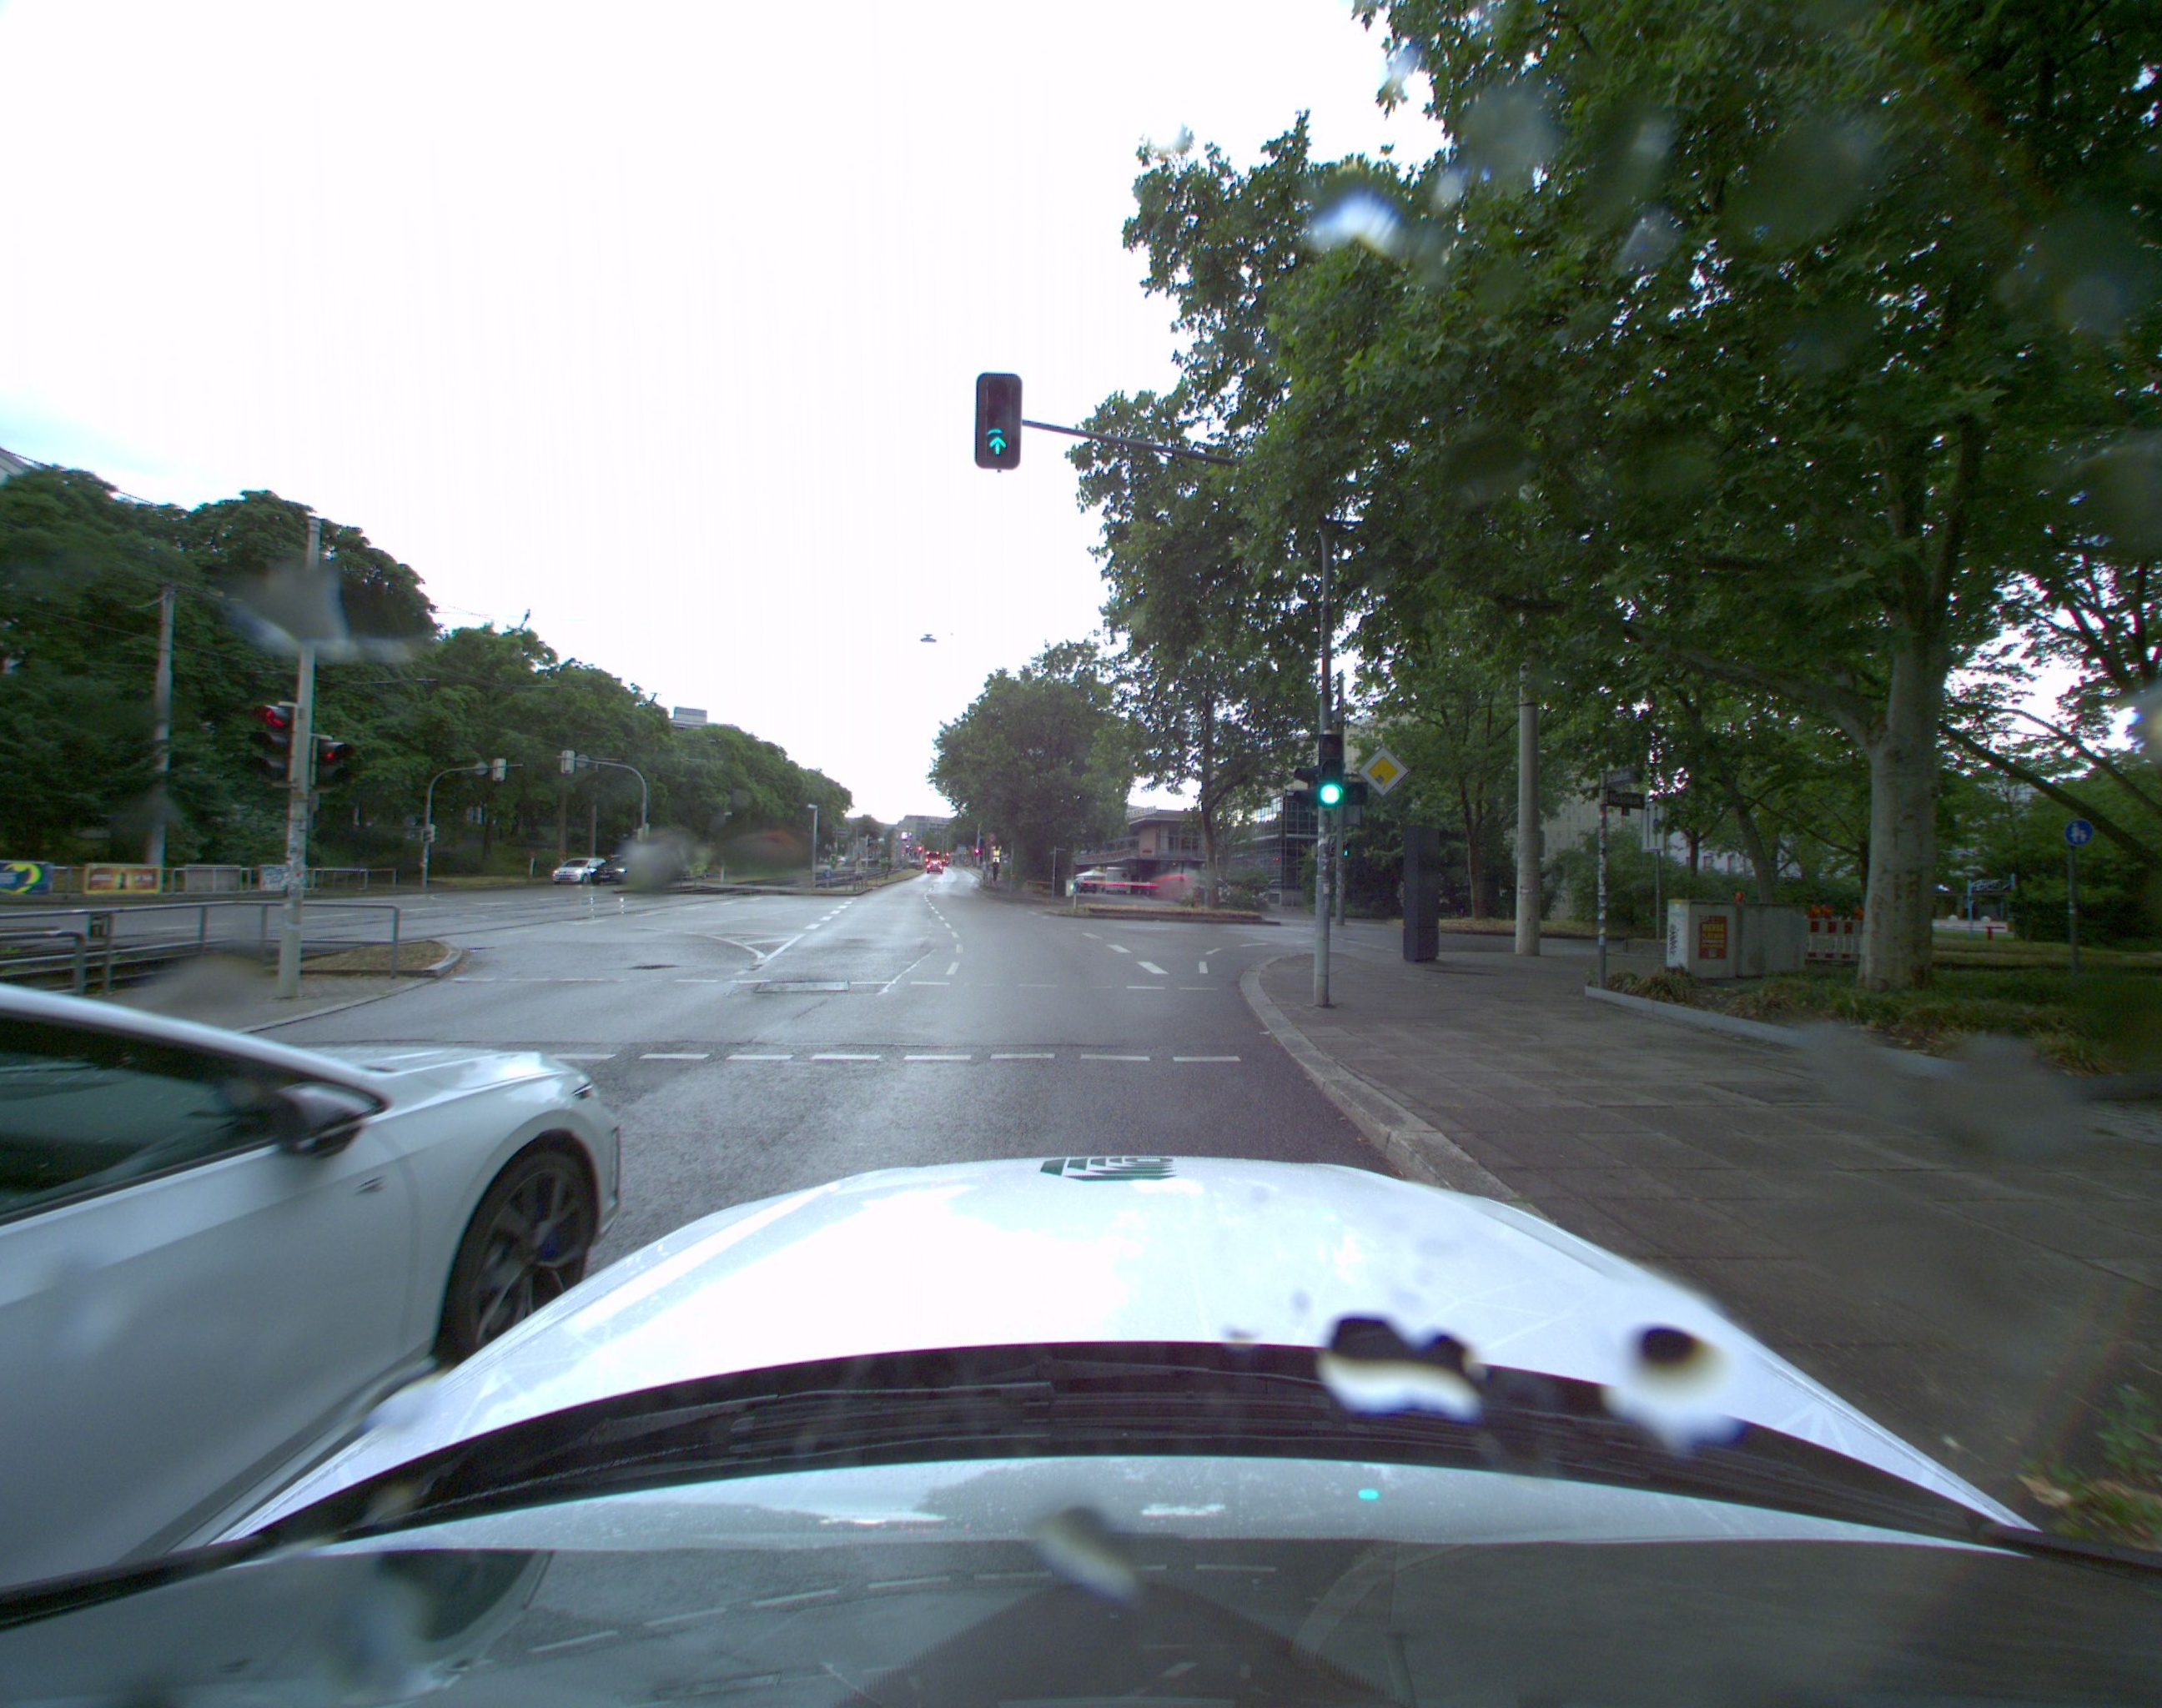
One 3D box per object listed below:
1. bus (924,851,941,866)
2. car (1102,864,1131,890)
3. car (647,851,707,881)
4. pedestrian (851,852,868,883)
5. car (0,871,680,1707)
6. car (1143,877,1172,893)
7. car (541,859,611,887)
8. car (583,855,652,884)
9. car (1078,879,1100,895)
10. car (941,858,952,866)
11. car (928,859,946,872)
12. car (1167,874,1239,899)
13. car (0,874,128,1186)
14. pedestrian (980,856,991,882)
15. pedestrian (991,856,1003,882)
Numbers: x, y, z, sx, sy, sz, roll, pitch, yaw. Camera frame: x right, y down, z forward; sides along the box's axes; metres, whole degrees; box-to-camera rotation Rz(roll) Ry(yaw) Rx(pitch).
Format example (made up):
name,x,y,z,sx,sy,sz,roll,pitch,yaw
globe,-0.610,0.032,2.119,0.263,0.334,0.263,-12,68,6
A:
name,x,y,z,sx,sy,sz,roll,pitch,yaw
bus,-32.410,1.027,177.310,3.591,3.171,10.381,0,-1,-11
car,3.911,2.499,91.258,2.725,2.695,6.916,2,-1,-2
car,-26.513,0.794,53.617,1.917,1.851,4.558,1,-1,-5
pedestrian,-13.225,0.808,48.608,0.870,1.802,0.864,2,-1,-14
car,-2.513,0.765,0.914,1.789,1.442,4.477,0,-1,2
car,8.307,3.369,88.954,2.020,1.551,4.334,2,-1,-10
car,-29.006,1.075,46.926,1.917,1.546,3.674,1,-1,-5
car,-25.707,0.860,45.321,1.917,1.546,3.674,1,-1,-5
car,0.864,3.520,87.882,2.010,1.551,4.354,2,-1,4
car,-30.093,1.752,182.222,2.364,1.817,5.164,0,-1,-11
car,-16.788,1.313,94.896,1.993,1.519,4.336,0,-1,-9
car,9.275,2.442,61.935,5.221,1.731,1.860,2,-1,-23
car,-5.981,0.807,2.051,1.789,1.442,4.477,0,-1,2
pedestrian,-7.436,1.197,63.741,0.813,2.014,1.075,0,-1,-6
pedestrian,-6.604,1.186,63.930,0.873,2.014,1.075,0,-1,-6
